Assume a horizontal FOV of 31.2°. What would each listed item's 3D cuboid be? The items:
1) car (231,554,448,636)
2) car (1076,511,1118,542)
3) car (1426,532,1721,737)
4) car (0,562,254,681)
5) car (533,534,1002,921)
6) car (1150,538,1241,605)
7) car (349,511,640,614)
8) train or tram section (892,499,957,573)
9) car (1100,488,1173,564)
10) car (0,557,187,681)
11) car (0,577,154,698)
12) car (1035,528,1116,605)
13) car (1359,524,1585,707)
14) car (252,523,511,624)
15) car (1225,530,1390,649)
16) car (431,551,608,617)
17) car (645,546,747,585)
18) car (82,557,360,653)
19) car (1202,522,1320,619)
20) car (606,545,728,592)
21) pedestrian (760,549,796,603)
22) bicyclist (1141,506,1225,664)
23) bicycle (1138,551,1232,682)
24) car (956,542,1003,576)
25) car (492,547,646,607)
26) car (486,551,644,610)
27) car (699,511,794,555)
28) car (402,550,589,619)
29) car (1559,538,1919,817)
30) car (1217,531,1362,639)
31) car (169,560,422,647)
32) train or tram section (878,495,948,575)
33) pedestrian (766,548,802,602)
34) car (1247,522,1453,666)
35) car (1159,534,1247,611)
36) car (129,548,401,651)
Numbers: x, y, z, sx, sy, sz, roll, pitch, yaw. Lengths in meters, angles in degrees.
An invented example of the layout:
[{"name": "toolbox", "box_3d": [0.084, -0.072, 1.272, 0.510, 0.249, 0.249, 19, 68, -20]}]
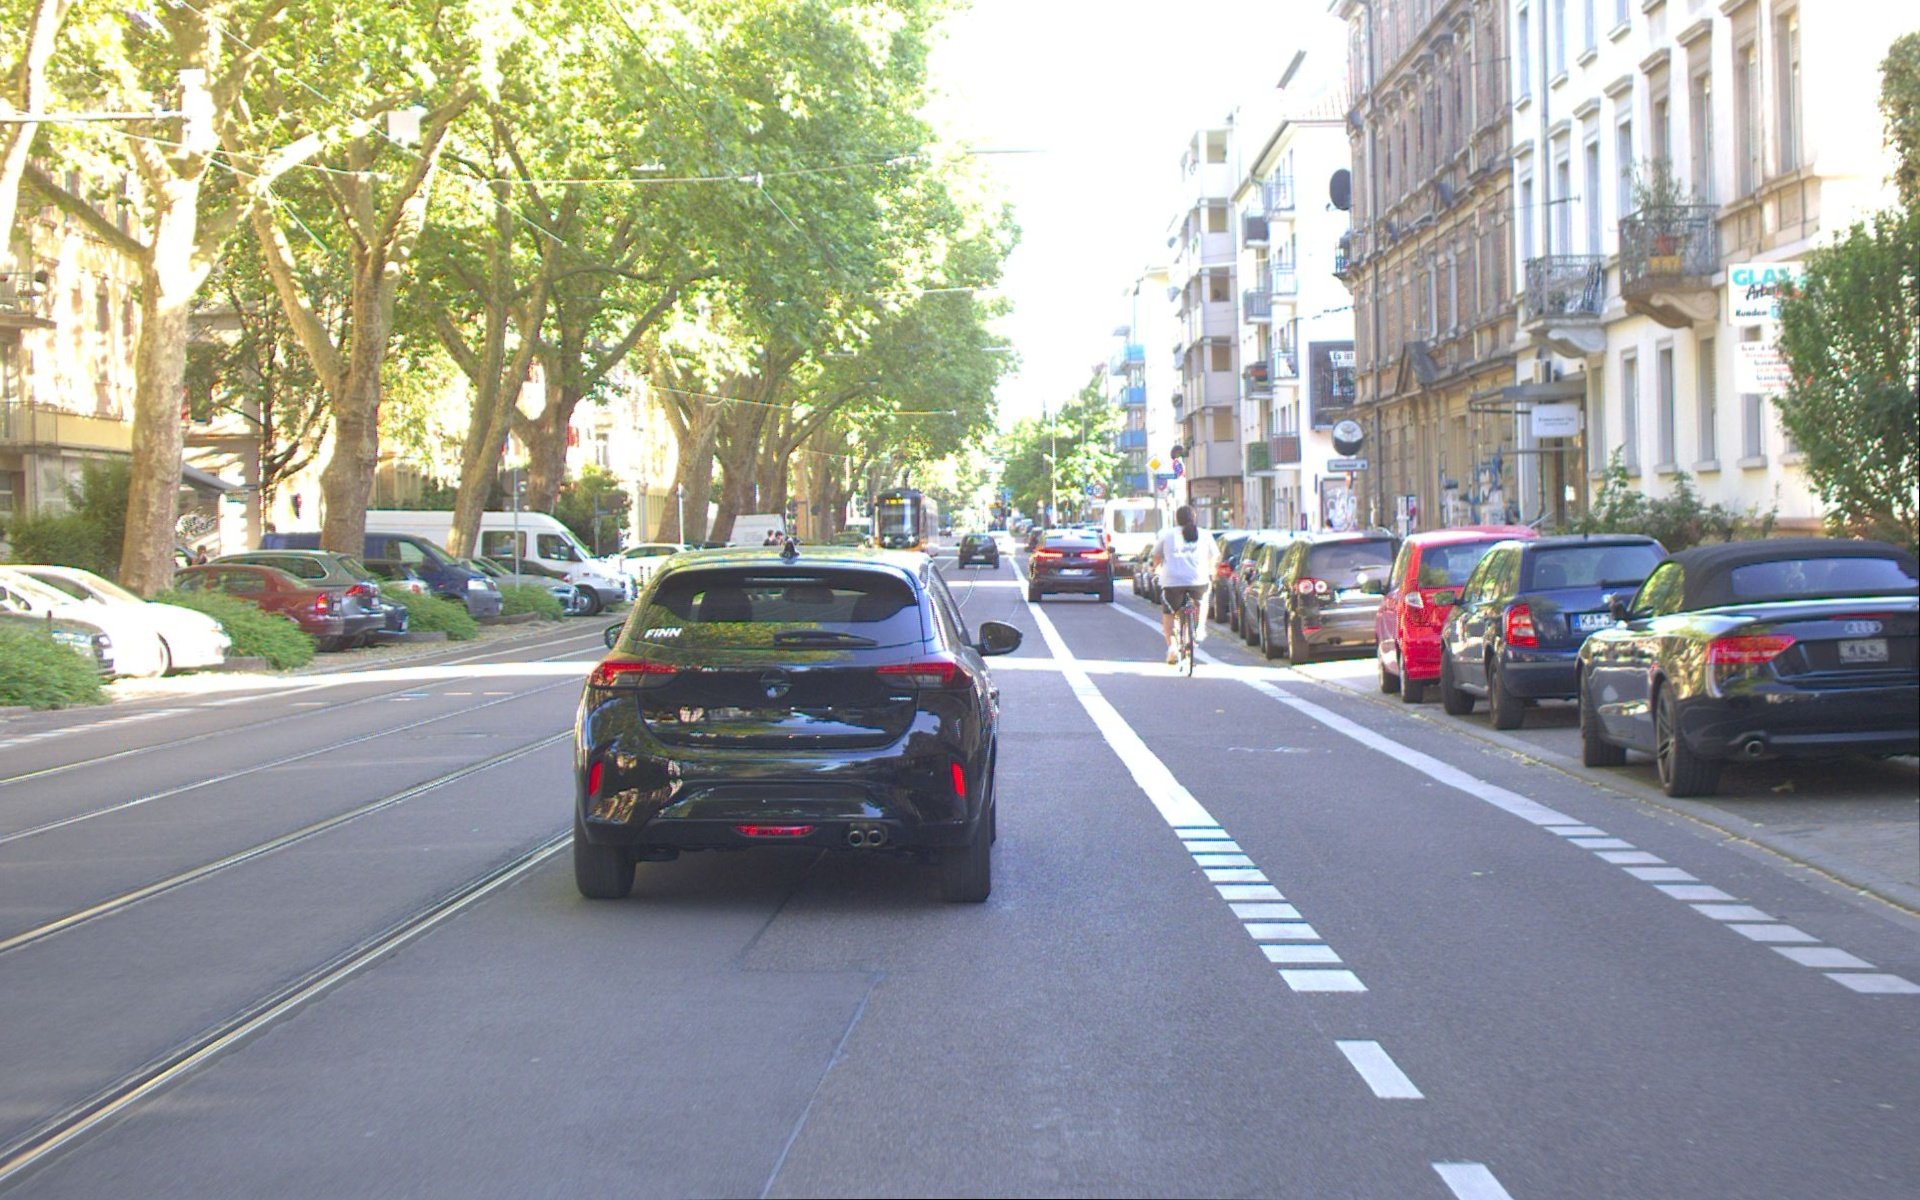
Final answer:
[{"name": "car", "box_3d": [-11.619, -0.102, 64.506, 3.734, 1.493, 1.746, 0, 1, 1]}, {"name": "car", "box_3d": [6.390, -3.419, 160.367, 1.810, 1.333, 3.933, -4, 1, 2]}, {"name": "car", "box_3d": [4.793, 0.227, 27.311, 1.651, 1.451, 3.868, -2, 1, 1]}, {"name": "car", "box_3d": [-11.373, 0.280, 44.827, 3.920, 1.457, 1.805, -1, 1, 1]}, {"name": "car", "box_3d": [-0.729, 0.460, 15.057, 1.794, 1.436, 3.531, -1, 2, 1]}, {"name": "car", "box_3d": [5.232, -0.655, 76.709, 1.810, 1.333, 3.933, -4, 1, 2]}, {"name": "car", "box_3d": [-11.127, -0.909, 82.516, 6.628, 2.401, 2.458, 0, 1, 1]}, {"name": "train or tram section", "box_3d": [-1.813, -3.362, 180.834, 2.735, 3.669, 12.716, -2, 1, 2]}, {"name": "car", "box_3d": [5.626, -2.347, 109.980, 2.076, 2.211, 4.933, -4, 1, 2]}, {"name": "car", "box_3d": [-11.634, 0.232, 42.017, 3.921, 1.448, 1.800, -1, 1, 1]}, {"name": "car", "box_3d": [-11.432, 0.407, 39.420, 3.920, 1.327, 1.847, 0, 1, 2]}, {"name": "car", "box_3d": [2.723, -0.804, 81.058, 1.810, 1.736, 3.933, -1, 1, 2]}, {"name": "car", "box_3d": [4.701, 0.106, 31.969, 1.634, 1.541, 3.576, -2, 1, 2]}, {"name": "car", "box_3d": [-11.297, -0.529, 67.317, 4.675, 1.917, 1.980, 0, 1, 2]}, {"name": "car", "box_3d": [4.795, -0.166, 47.843, 1.798, 1.451, 3.768, -4, 1, 0]}, {"name": "car", "box_3d": [-10.245, -0.370, 80.098, 3.920, 1.493, 1.677, 0, 1, 0]}, {"name": "car", "box_3d": [-10.313, -1.359, 134.595, 3.919, 1.493, 1.677, 0, 1, -2]}, {"name": "car", "box_3d": [-11.432, 0.063, 53.352, 3.920, 1.437, 1.749, 0, 1, 1]}, {"name": "car", "box_3d": [5.124, -0.520, 58.815, 1.711, 1.478, 3.764, -4, 1, 2]}, {"name": "car", "box_3d": [-9.674, -1.048, 113.513, 3.919, 1.493, 1.677, 0, 1, -2]}, {"name": "pedestrian", "box_3d": [-5.307, -0.712, 100.218, 0.766, 1.561, 0.681, -1, 1, -38]}, {"name": "bicyclist", "box_3d": [2.490, -0.174, 38.515, 0.848, 1.734, 1.162, -1, 1, 0]}, {"name": "bicycle", "box_3d": [2.499, 0.166, 38.498, 0.860, 1.402, 2.524, -1, 1, 0]}, {"name": "car", "box_3d": [0.816, -1.673, 140.643, 1.810, 1.333, 3.933, -1, 1, 2]}, {"name": "car", "box_3d": [-10.399, -0.621, 91.602, 3.919, 1.572, 1.677, 0, 1, -2]}, {"name": "car", "box_3d": [-10.223, -0.516, 89.137, 3.919, 1.493, 1.677, 0, 1, -2]}, {"name": "car", "box_3d": [-8.923, -2.792, 143.941, 3.919, 1.784, 1.677, 0, 1, -2]}, {"name": "car", "box_3d": [-10.362, -0.356, 76.844, 3.920, 1.493, 1.677, 0, 1, 2]}, {"name": "car", "box_3d": [4.704, 0.367, 20.171, 1.694, 1.388, 4.494, -2, 1, 2]}, {"name": "car", "box_3d": [5.018, -0.260, 52.801, 1.880, 1.451, 4.025, -4, 1, 2]}, {"name": "car", "box_3d": [-11.181, 0.052, 57.999, 3.920, 1.417, 1.819, 0, 1, 0]}, {"name": "train or tram section", "box_3d": [-2.218, -3.172, 168.027, 2.735, 3.669, 12.716, -2, 1, 2]}, {"name": "pedestrian", "box_3d": [-5.174, -0.727, 101.030, 0.766, 1.561, 0.681, -1, 1, -38]}, {"name": "car", "box_3d": [4.859, -0.097, 43.298, 1.880, 1.580, 3.933, -5, 1, -2]}, {"name": "car", "box_3d": [5.120, -0.601, 72.408, 1.705, 1.451, 3.697, -4, 1, 4]}, {"name": "car", "box_3d": [-11.204, -0.022, 55.593, 3.995, 1.621, 1.879, 0, 1, 1]}]
